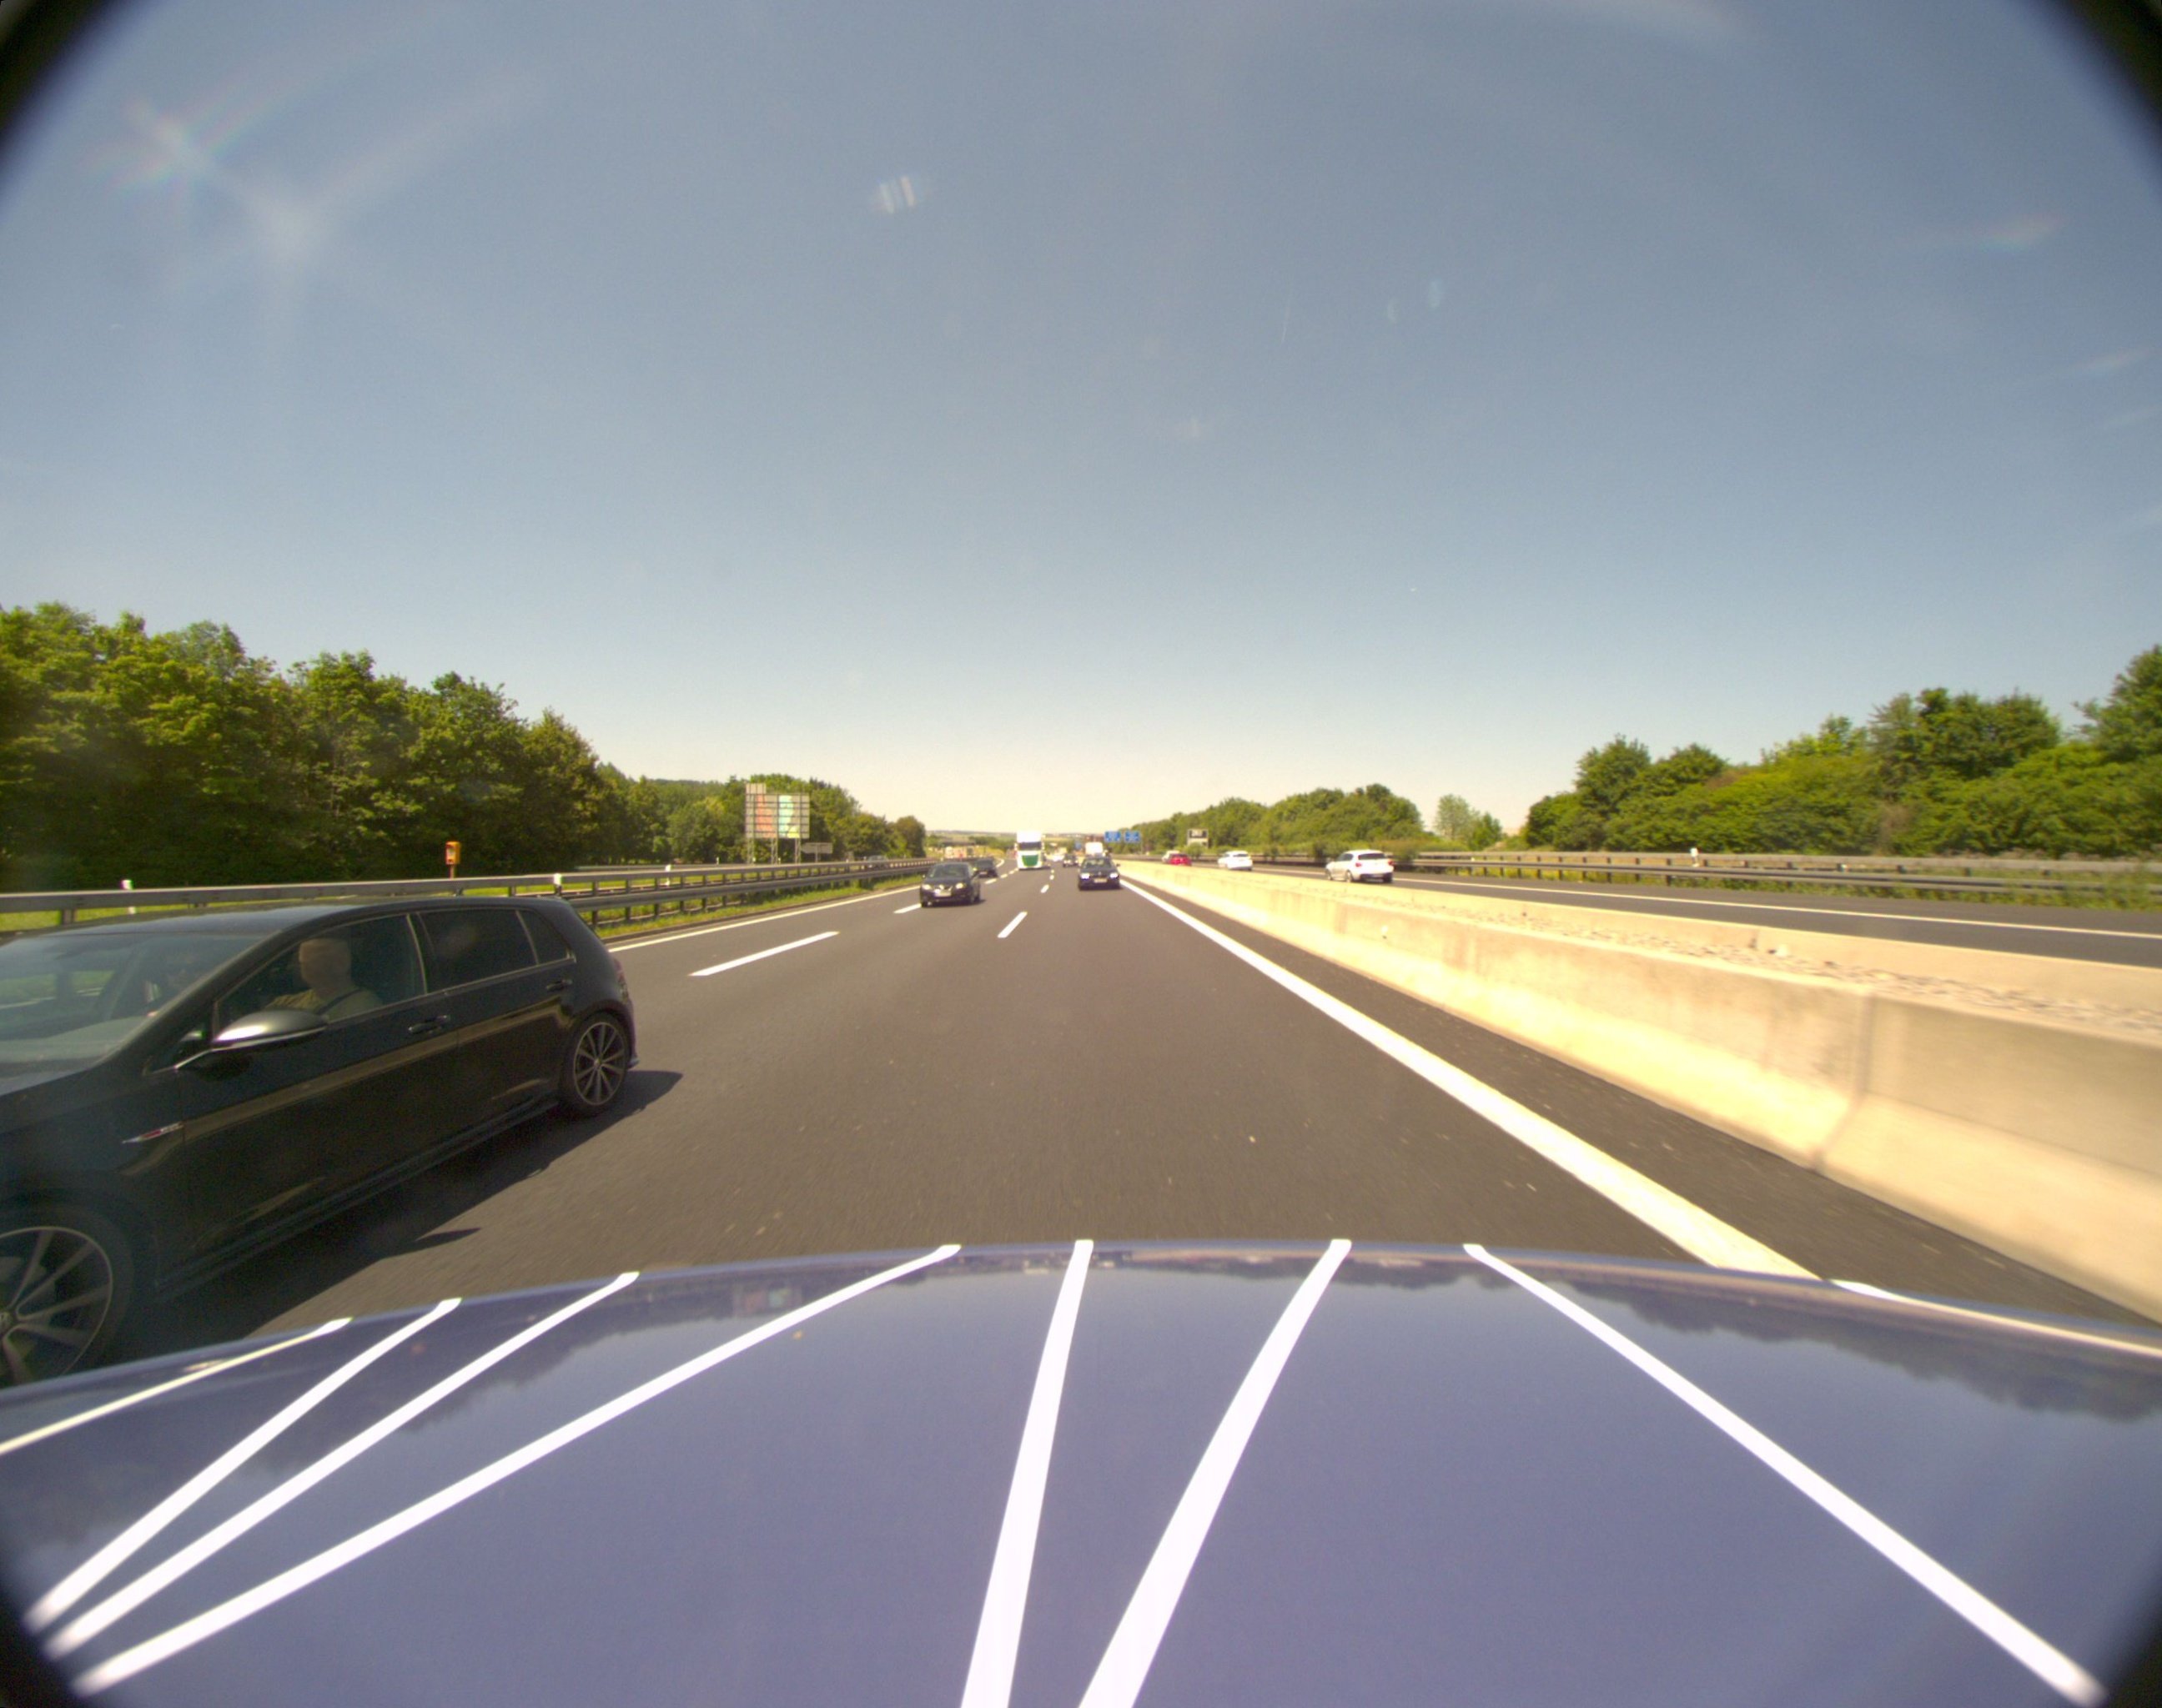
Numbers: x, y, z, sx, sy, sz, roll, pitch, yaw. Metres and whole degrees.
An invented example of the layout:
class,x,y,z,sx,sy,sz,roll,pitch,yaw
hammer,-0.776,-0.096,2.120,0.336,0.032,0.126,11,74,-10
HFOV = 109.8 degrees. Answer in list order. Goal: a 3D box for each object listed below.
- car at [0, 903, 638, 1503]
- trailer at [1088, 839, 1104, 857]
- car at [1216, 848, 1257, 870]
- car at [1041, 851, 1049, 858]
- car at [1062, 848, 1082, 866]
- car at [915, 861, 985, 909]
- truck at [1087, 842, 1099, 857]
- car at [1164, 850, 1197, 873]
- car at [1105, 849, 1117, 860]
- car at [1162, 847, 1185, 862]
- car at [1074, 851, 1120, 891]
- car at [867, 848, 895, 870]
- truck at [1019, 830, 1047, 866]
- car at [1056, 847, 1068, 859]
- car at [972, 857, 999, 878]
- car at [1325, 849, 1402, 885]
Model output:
class,x,y,z,sx,sy,sz,roll,pitch,yaw
car,-3.876,1.081,3.034,1.798,1.427,3.966,-1,1,1
trailer,3.748,-1.430,189.383,2.726,4.287,12.817,-1,1,-4
car,11.769,0.357,57.739,1.999,1.535,5.040,-1,1,-1
car,-8.921,0.158,189.162,1.885,1.836,3.998,0,0,-4
car,-1.067,0.375,88.443,1.999,2.002,3.997,-1,1,-5
car,-4.387,1.000,25.932,1.781,1.392,3.760,-1,1,-2
truck,3.065,-1.264,198.205,2.757,3.733,4.863,-1,1,-5
car,7.992,0.567,61.330,1.999,1.649,4.633,-1,1,0
car,5.728,0.008,146.425,1.999,2.069,4.702,-1,0,-3
car,10.399,0.029,85.905,1.873,1.656,4.662,-1,1,-2
car,0.773,0.693,33.479,1.798,1.574,4.000,-1,1,4
car,-18.683,0.428,71.198,2.000,2.002,3.997,-1,0,-8
truck,-5.051,-0.622,79.928,2.650,3.572,4.401,-1,1,-6
car,-3.391,-0.203,133.324,1.925,2.002,3.999,0,0,-3
car,-7.309,1.013,58.448,1.892,1.464,3.865,-1,1,-4
car,12.260,0.532,33.233,1.855,1.386,4.000,-3,0,0
